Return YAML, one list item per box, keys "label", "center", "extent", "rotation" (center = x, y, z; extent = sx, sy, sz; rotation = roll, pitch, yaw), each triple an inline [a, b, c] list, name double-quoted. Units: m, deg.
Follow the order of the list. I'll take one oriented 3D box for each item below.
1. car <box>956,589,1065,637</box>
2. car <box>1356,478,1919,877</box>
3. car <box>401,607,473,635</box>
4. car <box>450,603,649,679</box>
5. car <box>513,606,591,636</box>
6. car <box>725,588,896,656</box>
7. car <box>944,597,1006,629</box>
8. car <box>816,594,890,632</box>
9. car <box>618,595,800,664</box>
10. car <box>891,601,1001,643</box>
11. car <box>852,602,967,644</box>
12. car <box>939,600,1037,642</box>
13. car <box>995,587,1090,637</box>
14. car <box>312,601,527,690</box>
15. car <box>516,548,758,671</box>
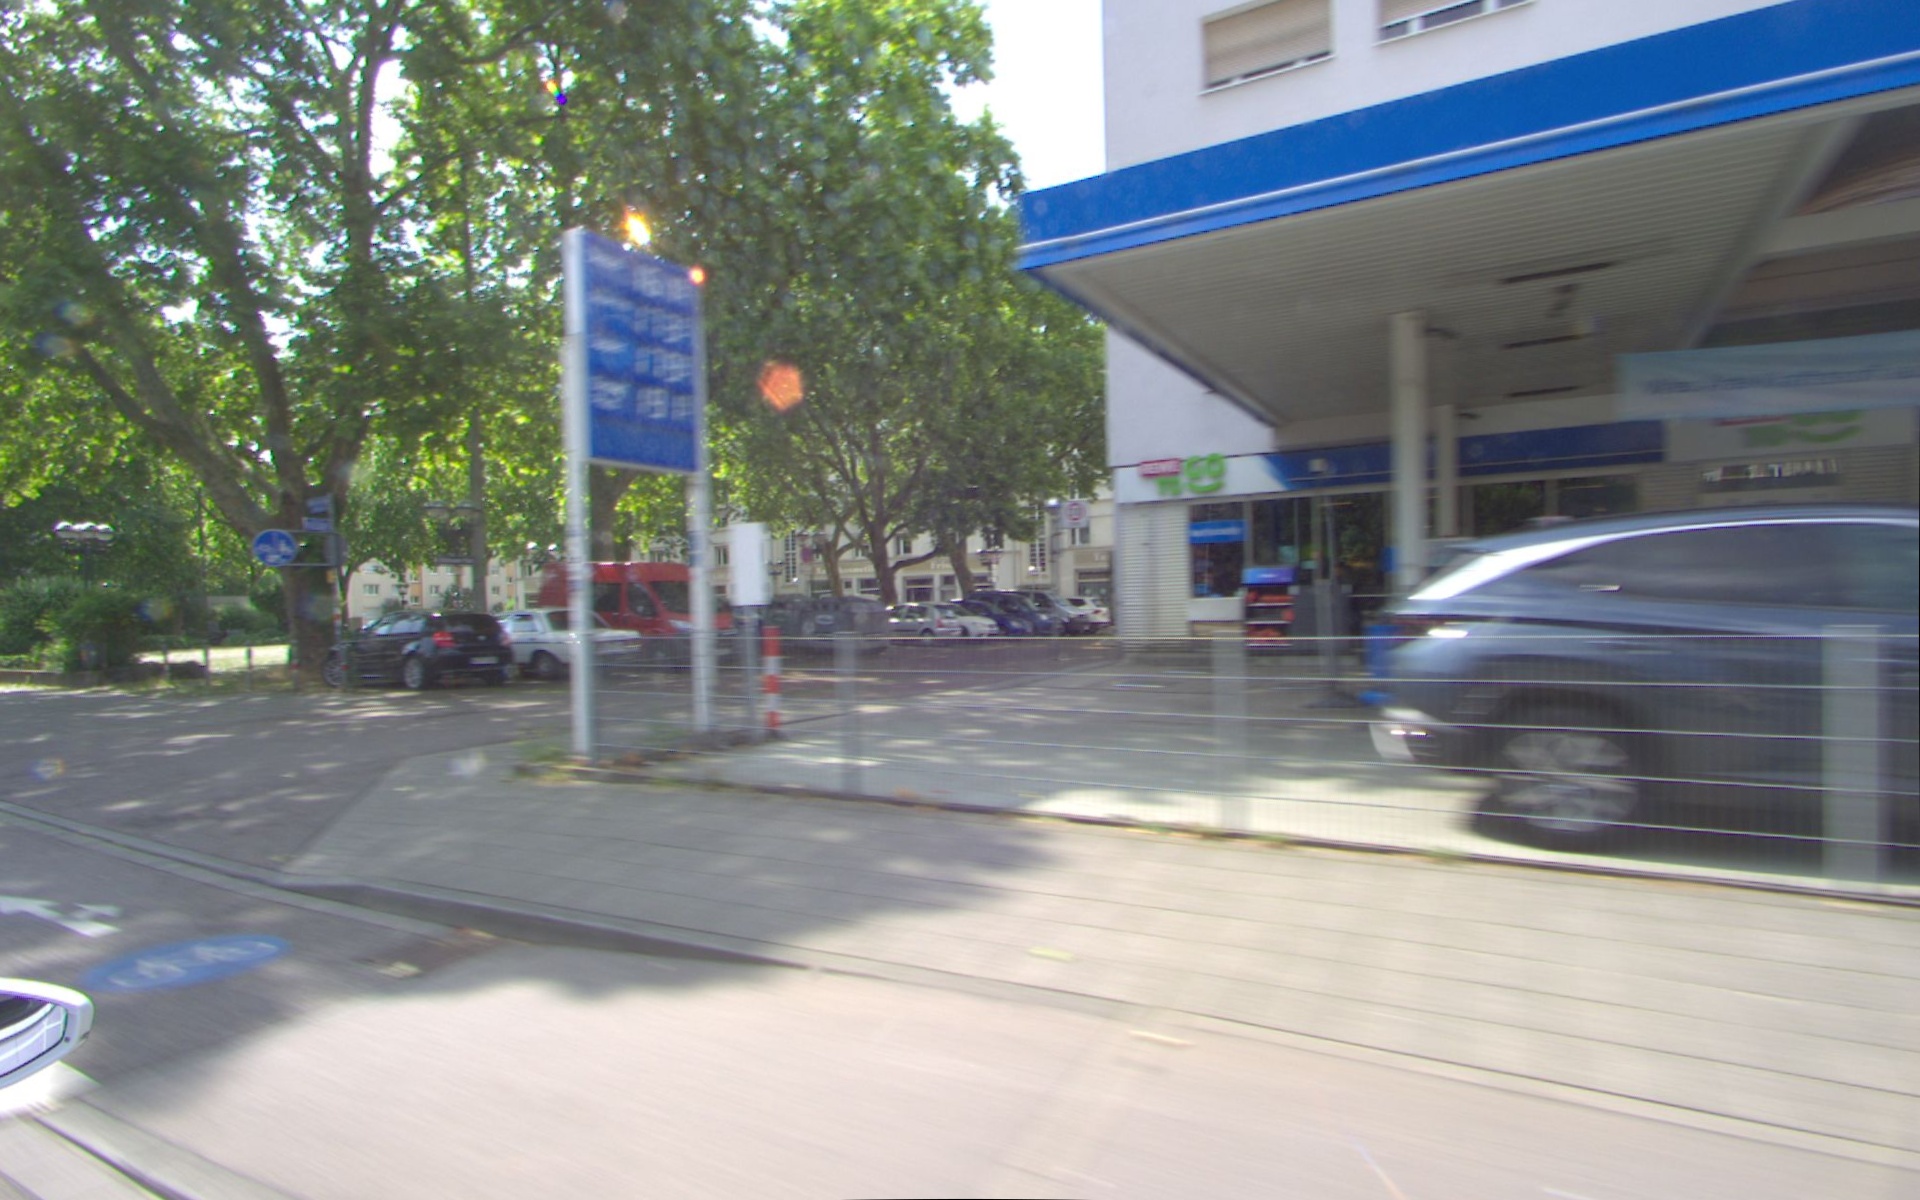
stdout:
- label: "car"
  center: [2.011, 0.544, 40.253]
  extent: [3.985, 1.843, 1.821]
  rotation: [-1, -1, 28]
- label: "car"
  center: [4.448, 0.316, 4.789]
  extent: [4.516, 1.623, 1.802]
  rotation: [-1, 0, 31]
- label: "car"
  center: [-39.859, 1.595, 76.376]
  extent: [2.047, 2.040, 4.405]
  rotation: [-1, 0, 31]
- label: "car"
  center: [-8.614, 0.823, 20.960]
  extent: [3.979, 1.448, 1.647]
  rotation: [-1, 0, 27]
- label: "car"
  center: [-28.779, 1.486, 70.772]
  extent: [2.160, 1.955, 4.670]
  rotation: [-1, 0, 32]
- label: "car"
  center: [-4.237, 0.629, 28.175]
  extent: [4.585, 1.777, 2.003]
  rotation: [-1, -1, 32]
- label: "car"
  center: [1.012, 0.840, 65.491]
  extent: [2.008, 1.955, 4.673]
  rotation: [-1, 0, 30]
- label: "car"
  center: [-6.002, 0.706, 56.634]
  extent: [2.046, 2.040, 4.247]
  rotation: [-1, 0, 30]
- label: "car"
  center: [-6.558, 0.761, 26.064]
  extent: [4.585, 1.672, 2.003]
  rotation: [-1, -1, 32]
- label: "car"
  center: [-0.493, 0.802, 35.593]
  extent: [3.586, 1.433, 1.644]
  rotation: [-1, -1, 28]
- label: "car"
  center: [-1.697, 0.784, 33.787]
  extent: [3.586, 1.381, 1.579]
  rotation: [-1, -1, 28]
- label: "car"
  center: [1.054, 0.802, 37.759]
  extent: [3.325, 1.527, 1.598]
  rotation: [-1, -1, 28]
- label: "car"
  center: [3.464, 0.518, 42.071]
  extent: [3.586, 2.013, 1.821]
  rotation: [-1, -1, 28]
- label: "car"
  center: [-10.121, 0.812, 18.705]
  extent: [3.982, 1.490, 1.646]
  rotation: [-1, 0, 30]
- label: "car"
  center: [-7.710, 0.246, 23.669]
  extent: [5.933, 2.616, 2.107]
  rotation: [-1, 1, 32]
